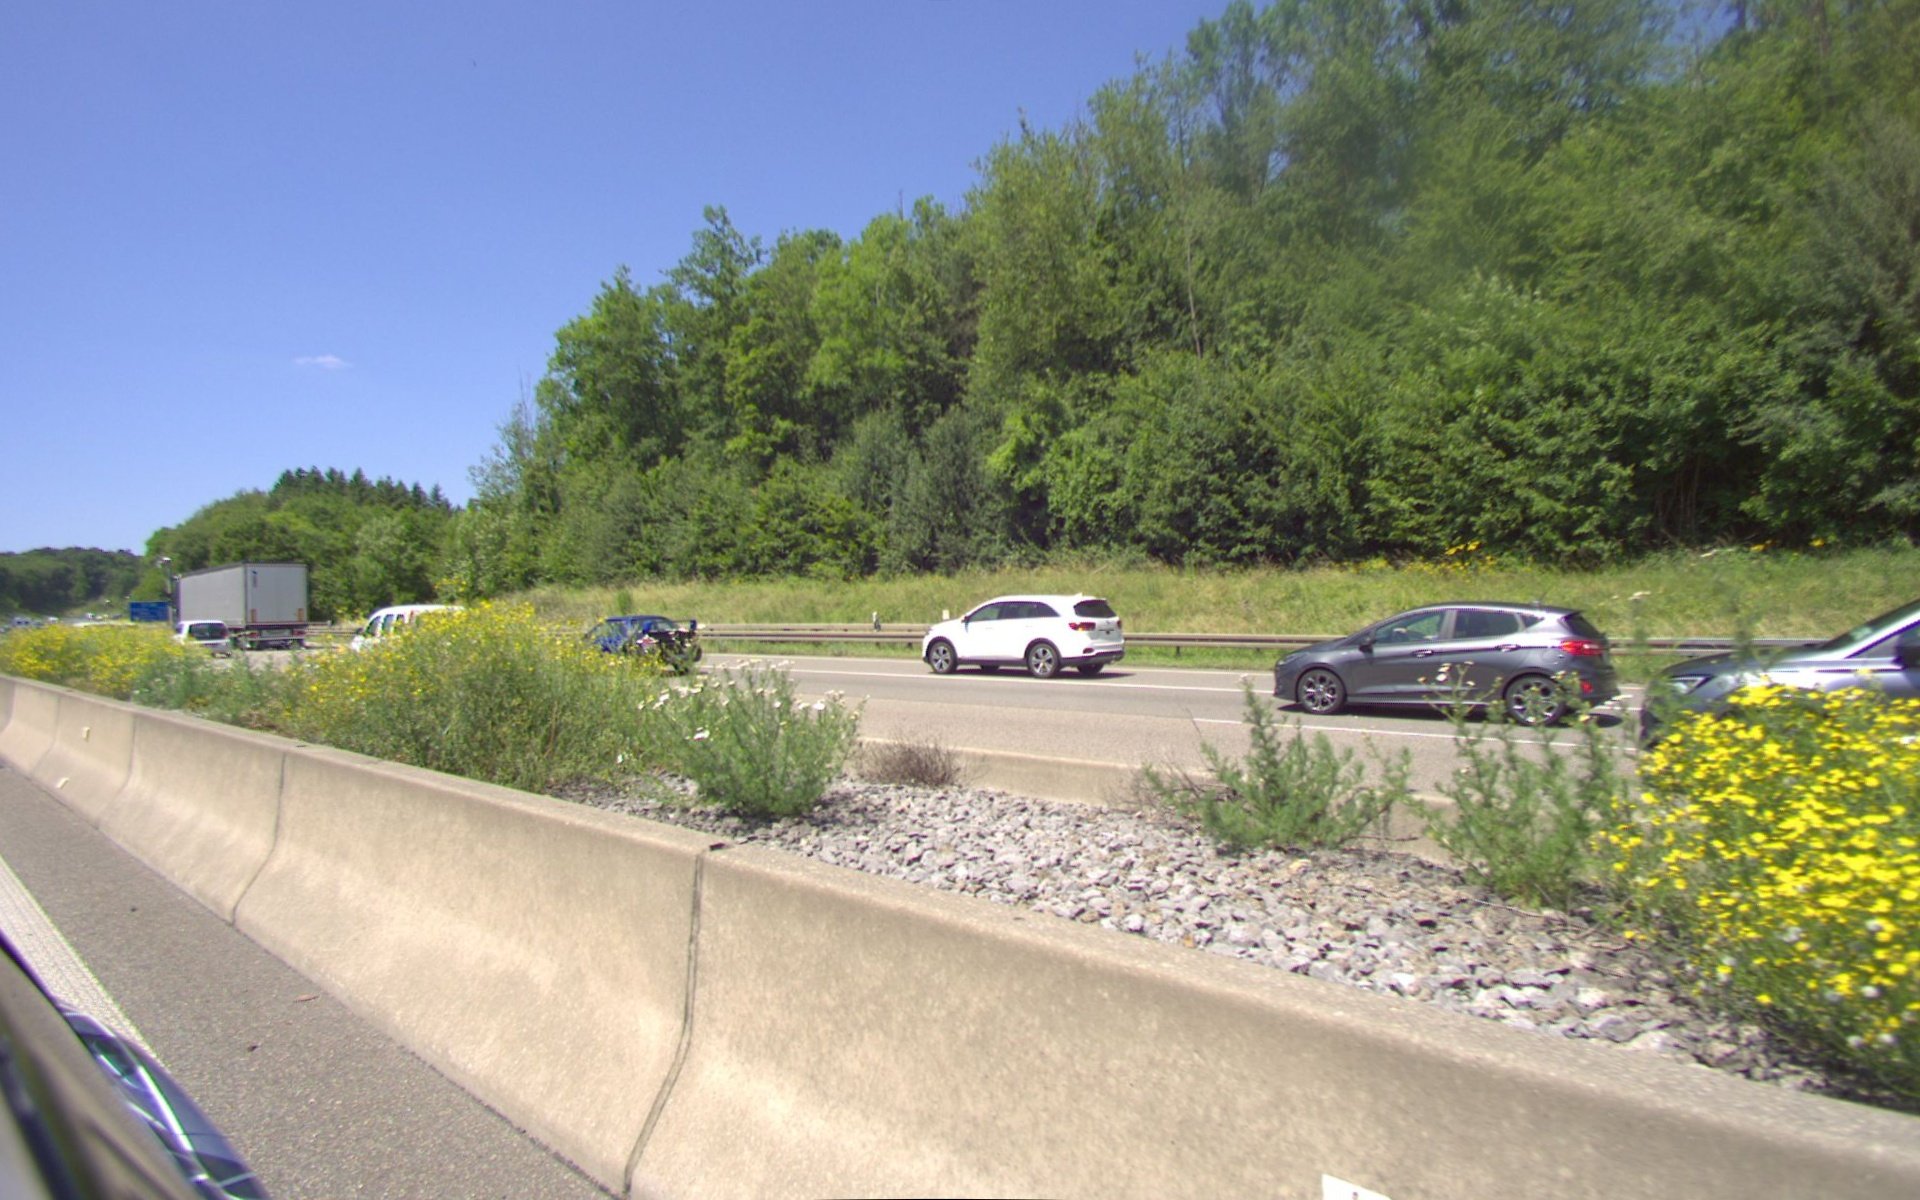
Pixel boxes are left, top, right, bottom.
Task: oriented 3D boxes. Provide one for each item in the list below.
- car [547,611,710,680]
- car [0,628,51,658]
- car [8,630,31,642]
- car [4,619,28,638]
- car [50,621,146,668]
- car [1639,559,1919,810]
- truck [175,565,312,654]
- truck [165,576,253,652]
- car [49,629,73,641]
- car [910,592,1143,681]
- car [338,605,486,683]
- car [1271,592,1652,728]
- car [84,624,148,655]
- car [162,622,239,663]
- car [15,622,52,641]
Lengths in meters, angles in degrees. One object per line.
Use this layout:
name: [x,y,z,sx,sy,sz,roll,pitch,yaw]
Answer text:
car: [-8.061,1.052,24.449,3.998,1.503,1.973,-2,-1,41]
car: [-45.912,2.066,49.290,4.246,1.351,1.973,-2,-1,41]
car: [-120.833,4.590,130.040,4.271,1.412,1.794,-2,-1,43]
car: [-140.083,4.180,150.129,6.062,2.722,2.191,-2,-1,43]
car: [-30.466,1.551,35.729,4.656,1.514,1.918,-2,-1,41]
car: [7.131,0.518,6.779,4.062,1.584,1.973,-2,-1,41]
truck: [-36.333,0.572,50.962,13.743,3.968,2.798,-2,-1,43]
truck: [-41.248,0.774,55.522,6.006,3.969,2.798,-2,-1,43]
car: [-114.819,4.430,129.238,4.000,1.464,1.820,-2,-1,43]
car: [1.330,0.752,21.757,4.765,1.705,1.973,-2,-1,41]
car: [-13.687,1.049,25.184,4.274,1.768,1.865,-2,-1,41]
car: [6.311,0.680,12.956,4.005,1.455,1.973,-2,-1,41]
car: [-44.003,2.028,52.725,4.246,1.509,1.973,-2,-1,41]
car: [-29.616,1.630,39.426,3.881,1.509,1.658,-2,-1,41]
car: [-82.849,2.788,90.492,4.473,1.640,1.972,-2,-1,42]
